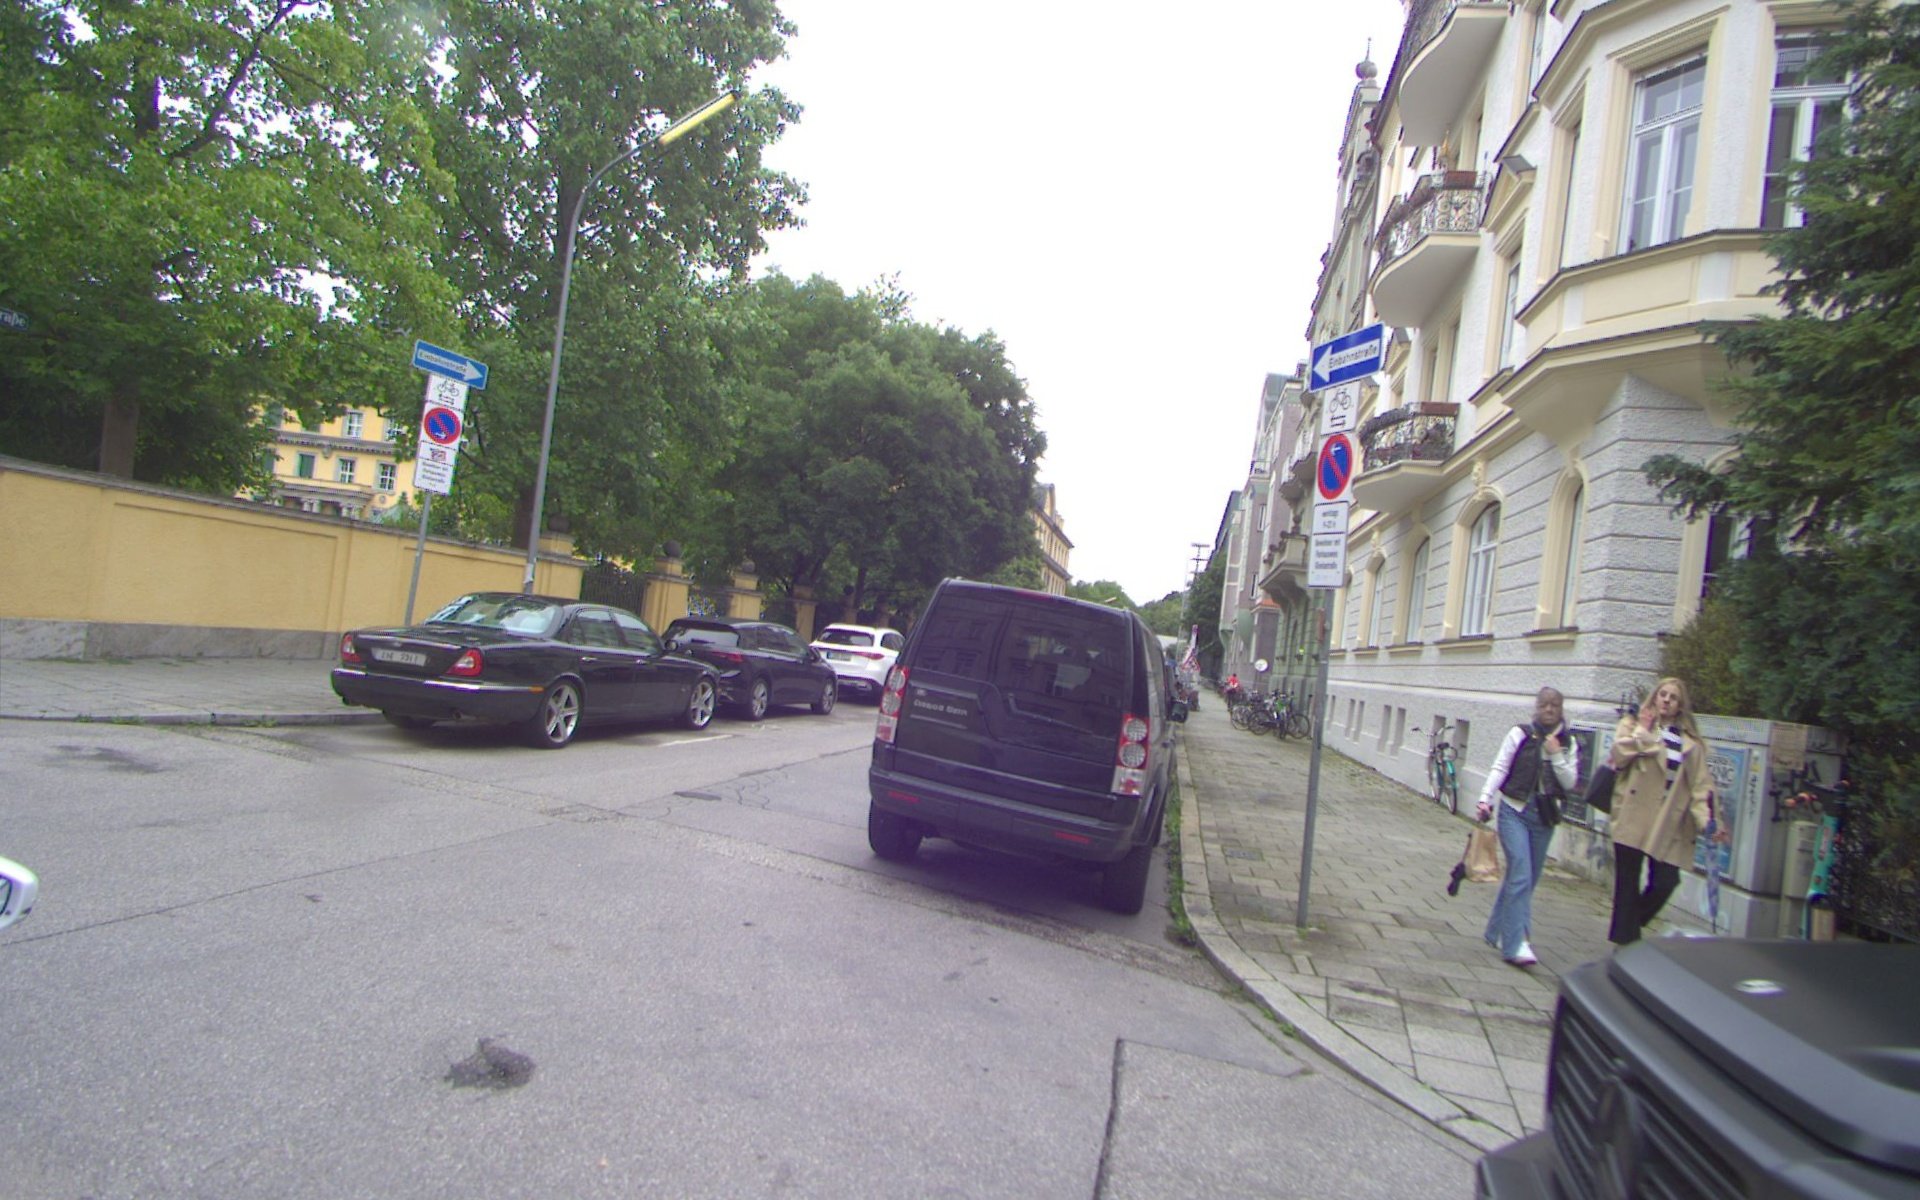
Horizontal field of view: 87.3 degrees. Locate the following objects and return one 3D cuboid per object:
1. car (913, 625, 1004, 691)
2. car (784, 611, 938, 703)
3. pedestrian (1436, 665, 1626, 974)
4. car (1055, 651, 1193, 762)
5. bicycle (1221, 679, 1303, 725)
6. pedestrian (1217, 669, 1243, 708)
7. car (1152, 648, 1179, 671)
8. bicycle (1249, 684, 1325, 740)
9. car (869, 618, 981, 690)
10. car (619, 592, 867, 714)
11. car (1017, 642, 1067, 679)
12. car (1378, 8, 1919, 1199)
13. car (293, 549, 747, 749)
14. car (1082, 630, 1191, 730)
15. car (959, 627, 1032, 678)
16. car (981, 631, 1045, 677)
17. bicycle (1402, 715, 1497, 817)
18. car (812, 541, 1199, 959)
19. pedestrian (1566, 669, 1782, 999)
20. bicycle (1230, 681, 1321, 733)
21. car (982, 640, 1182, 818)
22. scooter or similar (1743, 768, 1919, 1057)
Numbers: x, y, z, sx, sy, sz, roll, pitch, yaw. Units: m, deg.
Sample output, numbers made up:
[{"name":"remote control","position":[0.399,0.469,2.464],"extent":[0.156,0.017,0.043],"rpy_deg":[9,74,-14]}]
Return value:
[{"name":"car","position":[0.047,1.887,32.933],"extent":[1.972,1.798,4.388],"rpy_deg":[6,-2,11]},{"name":"car","position":[-2.051,1.269,22.478],"extent":[1.962,1.640,4.613],"rpy_deg":[6,-2,12]},{"name":"pedestrian","position":[3.405,1.260,6.073],"extent":[0.676,1.649,0.708],"rpy_deg":[6,1,14]},{"name":"car","position":[3.052,1.786,17.990],"extent":[1.927,1.458,4.116],"rpy_deg":[9,-1,14]},{"name":"bicycle","position":[10.163,3.408,34.044],"extent":[2.460,1.282,2.477],"rpy_deg":[4,-3,14]},{"name":"pedestrian","position":[13.264,4.328,49.432],"extent":[0.958,1.771,0.784],"rpy_deg":[7,-1,23]},{"name":"car","position":[17.032,4.965,83.466],"extent":[1.962,1.640,4.613],"rpy_deg":[6,-2,11]},{"name":"bicycle","position":[8.888,3.011,27.505],"extent":[1.723,1.282,2.477],"rpy_deg":[4,-3,14]},{"name":"car","position":[-0.868,1.509,28.145],"extent":[1.962,1.640,4.613],"rpy_deg":[6,-2,11]},{"name":"car","position":[-3.269,0.872,16.288],"extent":[1.886,1.499,4.613],"rpy_deg":[6,-2,15]},{"name":"car","position":[4.353,3.168,52.720],"extent":[1.962,1.640,4.613],"rpy_deg":[6,-2,11]},{"name":"car","position":[2.976,0.933,0.850],"extent":[4.579,1.976,1.959],"rpy_deg":[8,-2,20]},{"name":"car","position":[-4.326,0.552,11.026],"extent":[1.830,1.499,4.934],"rpy_deg":[7,-2,13]},{"name":"car","position":[4.099,1.749,22.823],"extent":[1.927,1.774,4.254],"rpy_deg":[9,-1,14]},{"name":"car","position":[1.437,2.030,38.881],"extent":[1.962,1.640,4.613],"rpy_deg":[6,-2,11]},{"name":"car","position":[2.344,2.338,43.483],"extent":[1.962,1.640,4.613],"rpy_deg":[6,-2,11]},{"name":"bicycle","position":[6.748,2.243,13.983],"extent":[0.528,1.118,2.417],"rpy_deg":[7,-2,13]},{"name":"car","position":[0.728,0.893,7.717],"extent":[1.867,1.973,4.547],"rpy_deg":[9,-1,14]},{"name":"pedestrian","position":[4.212,1.329,6.009],"extent":[0.683,1.725,0.736],"rpy_deg":[6,2,17]},{"name":"bicycle","position":[9.613,3.250,30.859],"extent":[2.460,1.282,2.477],"rpy_deg":[4,-3,14]},{"name":"car","position":[1.795,1.531,13.311],"extent":[1.927,1.669,4.254],"rpy_deg":[9,-1,14]},{"name":"scooter or similar","position":[4.758,1.602,5.455],"extent":[0.364,1.204,1.351],"rpy_deg":[6,-1,23]}]
